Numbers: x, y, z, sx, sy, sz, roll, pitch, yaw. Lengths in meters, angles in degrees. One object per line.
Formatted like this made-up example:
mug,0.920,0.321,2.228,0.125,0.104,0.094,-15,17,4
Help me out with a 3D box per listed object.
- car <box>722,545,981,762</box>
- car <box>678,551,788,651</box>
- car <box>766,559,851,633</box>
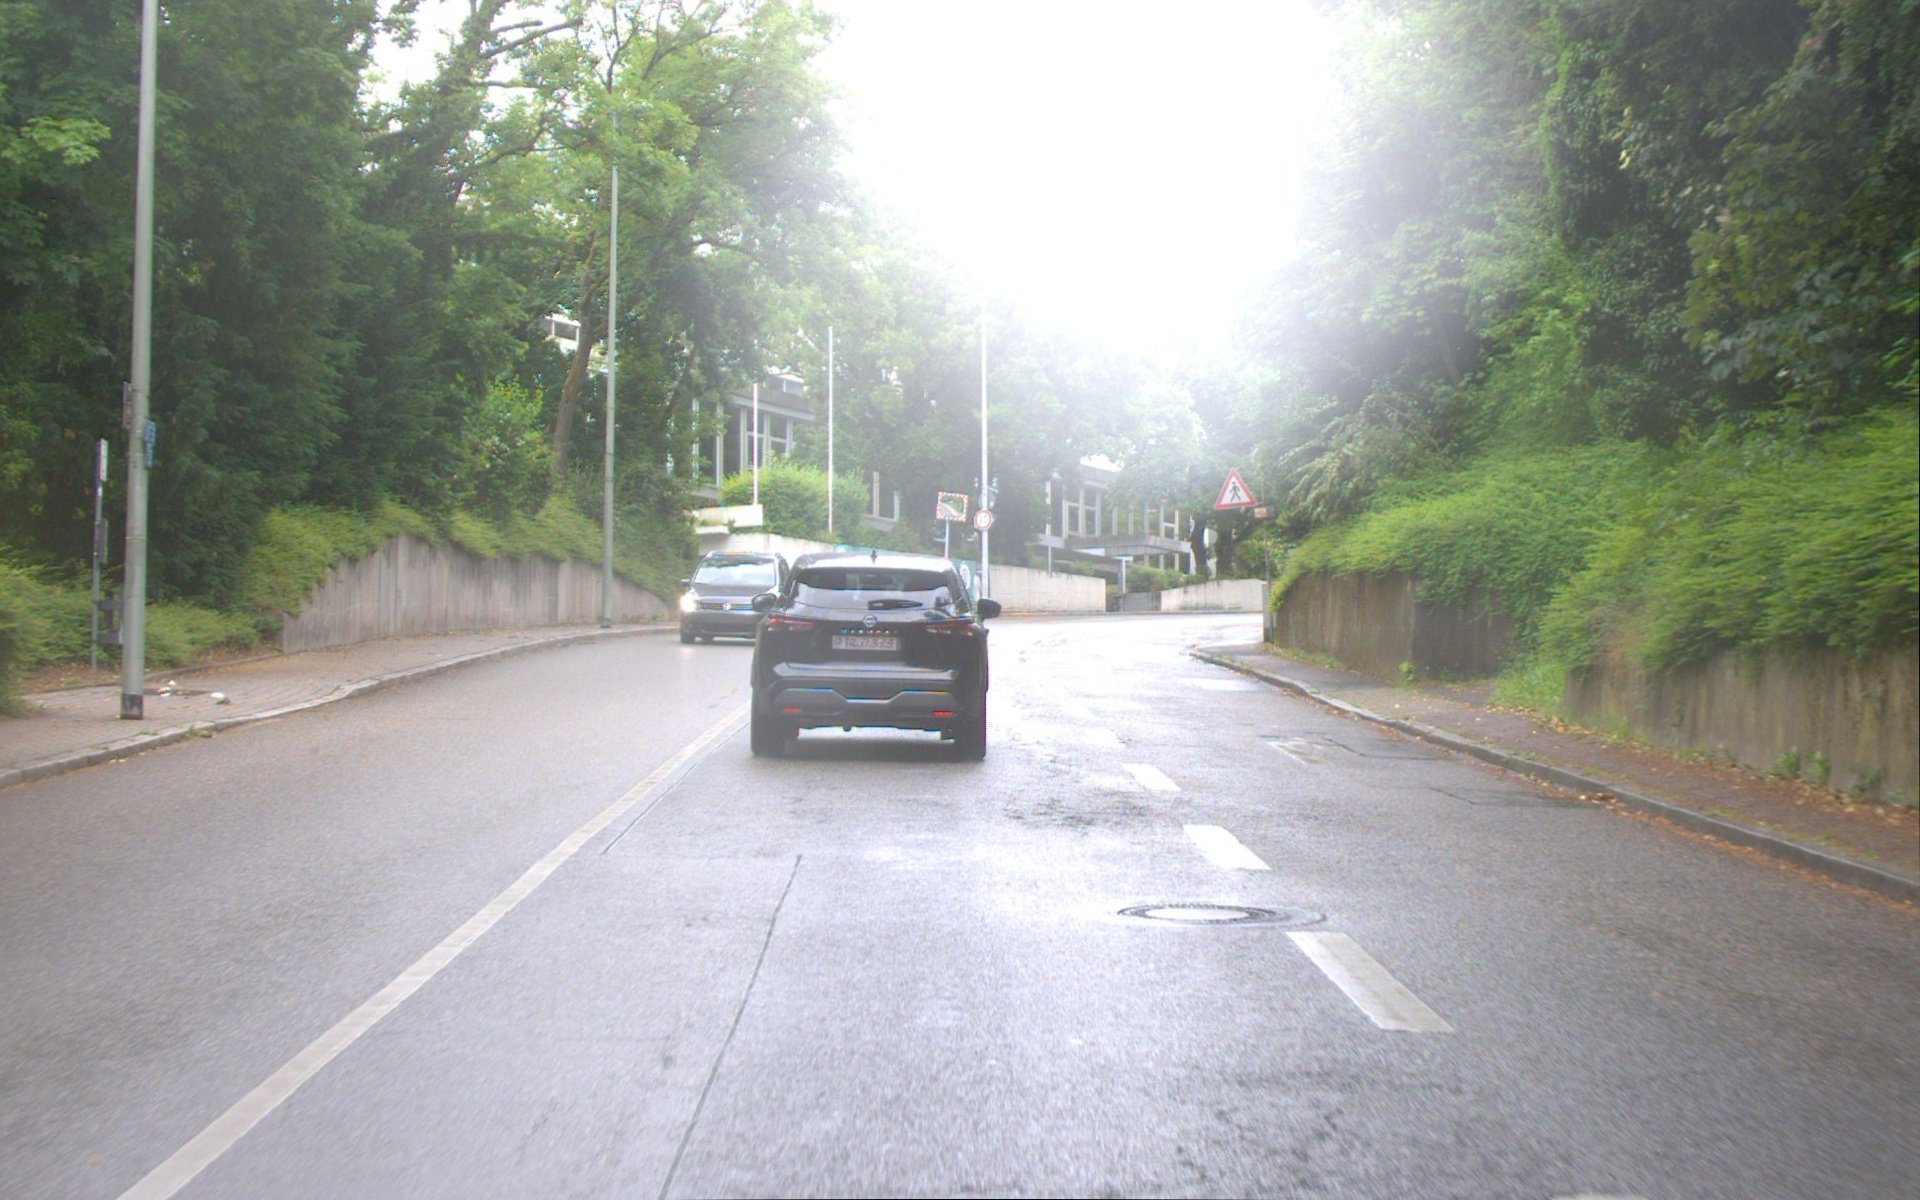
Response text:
car,-0.836,0.377,27.741,1.928,1.607,4.000,0,1,-1
car,-4.035,-0.012,61.577,1.830,1.705,4.000,1,1,-2
car,-3.157,-0.103,72.074,1.675,1.491,3.460,0,1,-1
